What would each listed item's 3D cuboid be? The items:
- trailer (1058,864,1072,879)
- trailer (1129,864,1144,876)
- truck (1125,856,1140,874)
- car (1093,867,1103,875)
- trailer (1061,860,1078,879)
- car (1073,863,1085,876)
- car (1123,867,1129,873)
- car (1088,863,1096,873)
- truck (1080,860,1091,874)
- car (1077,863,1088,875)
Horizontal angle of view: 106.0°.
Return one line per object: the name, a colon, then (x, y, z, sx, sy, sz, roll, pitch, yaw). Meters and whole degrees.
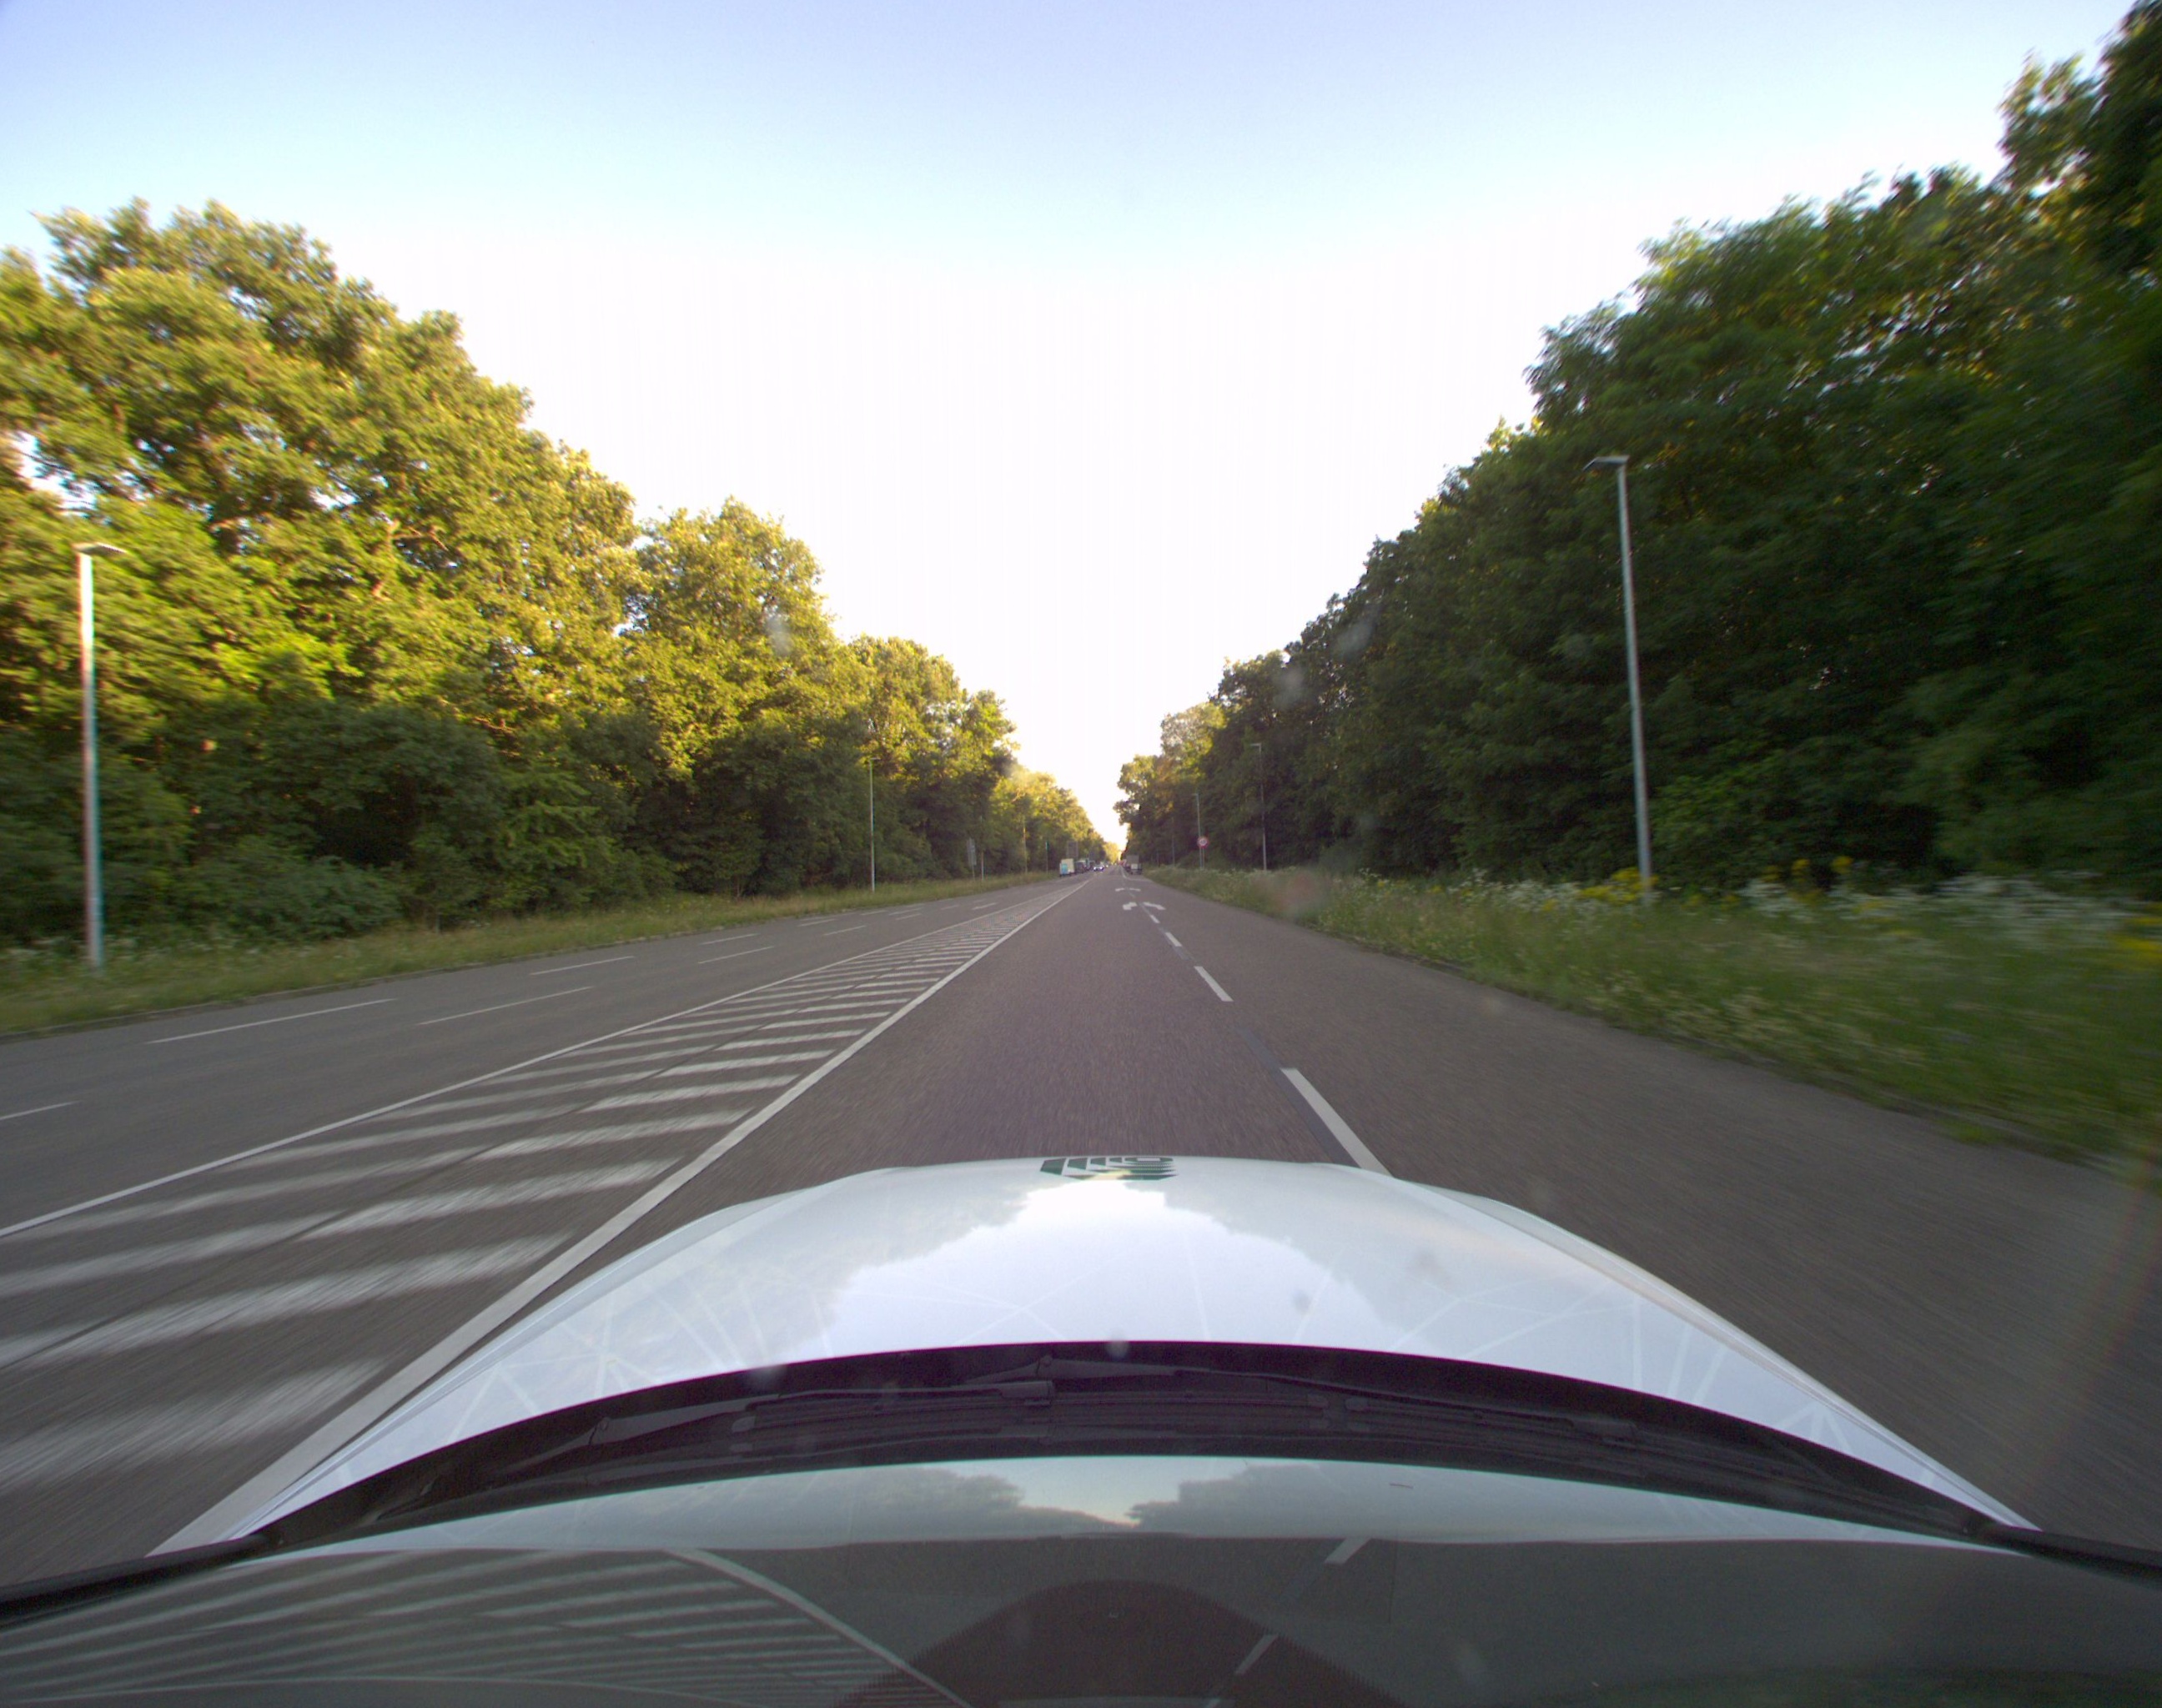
trailer: (-2.353, 2.684, 123.194, 1.810, 2.167, 4.144, -3, -1, 2)
trailer: (8.400, 2.455, 122.510, 1.445, 1.662, 3.792, -3, -1, 16)
truck: (9.832, 2.126, 155.014, 2.577, 3.255, 7.227, -1, -1, 4)
car: (3.871, 3.917, 185.280, 2.054, 1.435, 4.471, -5, 0, 4)
trailer: (-1.953, 2.589, 138.811, 2.317, 2.924, 5.629, -4, -1, 2)
car: (-0.361, 3.180, 164.078, 1.986, 2.364, 5.769, -5, -1, 2)
car: (12.585, 4.404, 227.957, 1.144, 1.251, 2.754, -13, 0, 0)
car: (3.342, 4.012, 241.818, 2.178, 2.789, 5.337, -3, -1, 2)
truck: (1.190, 3.354, 207.214, 2.494, 3.329, 6.845, -3, -1, 2)
car: (0.363, 3.316, 181.635, 2.240, 2.647, 5.724, -3, -1, 2)
